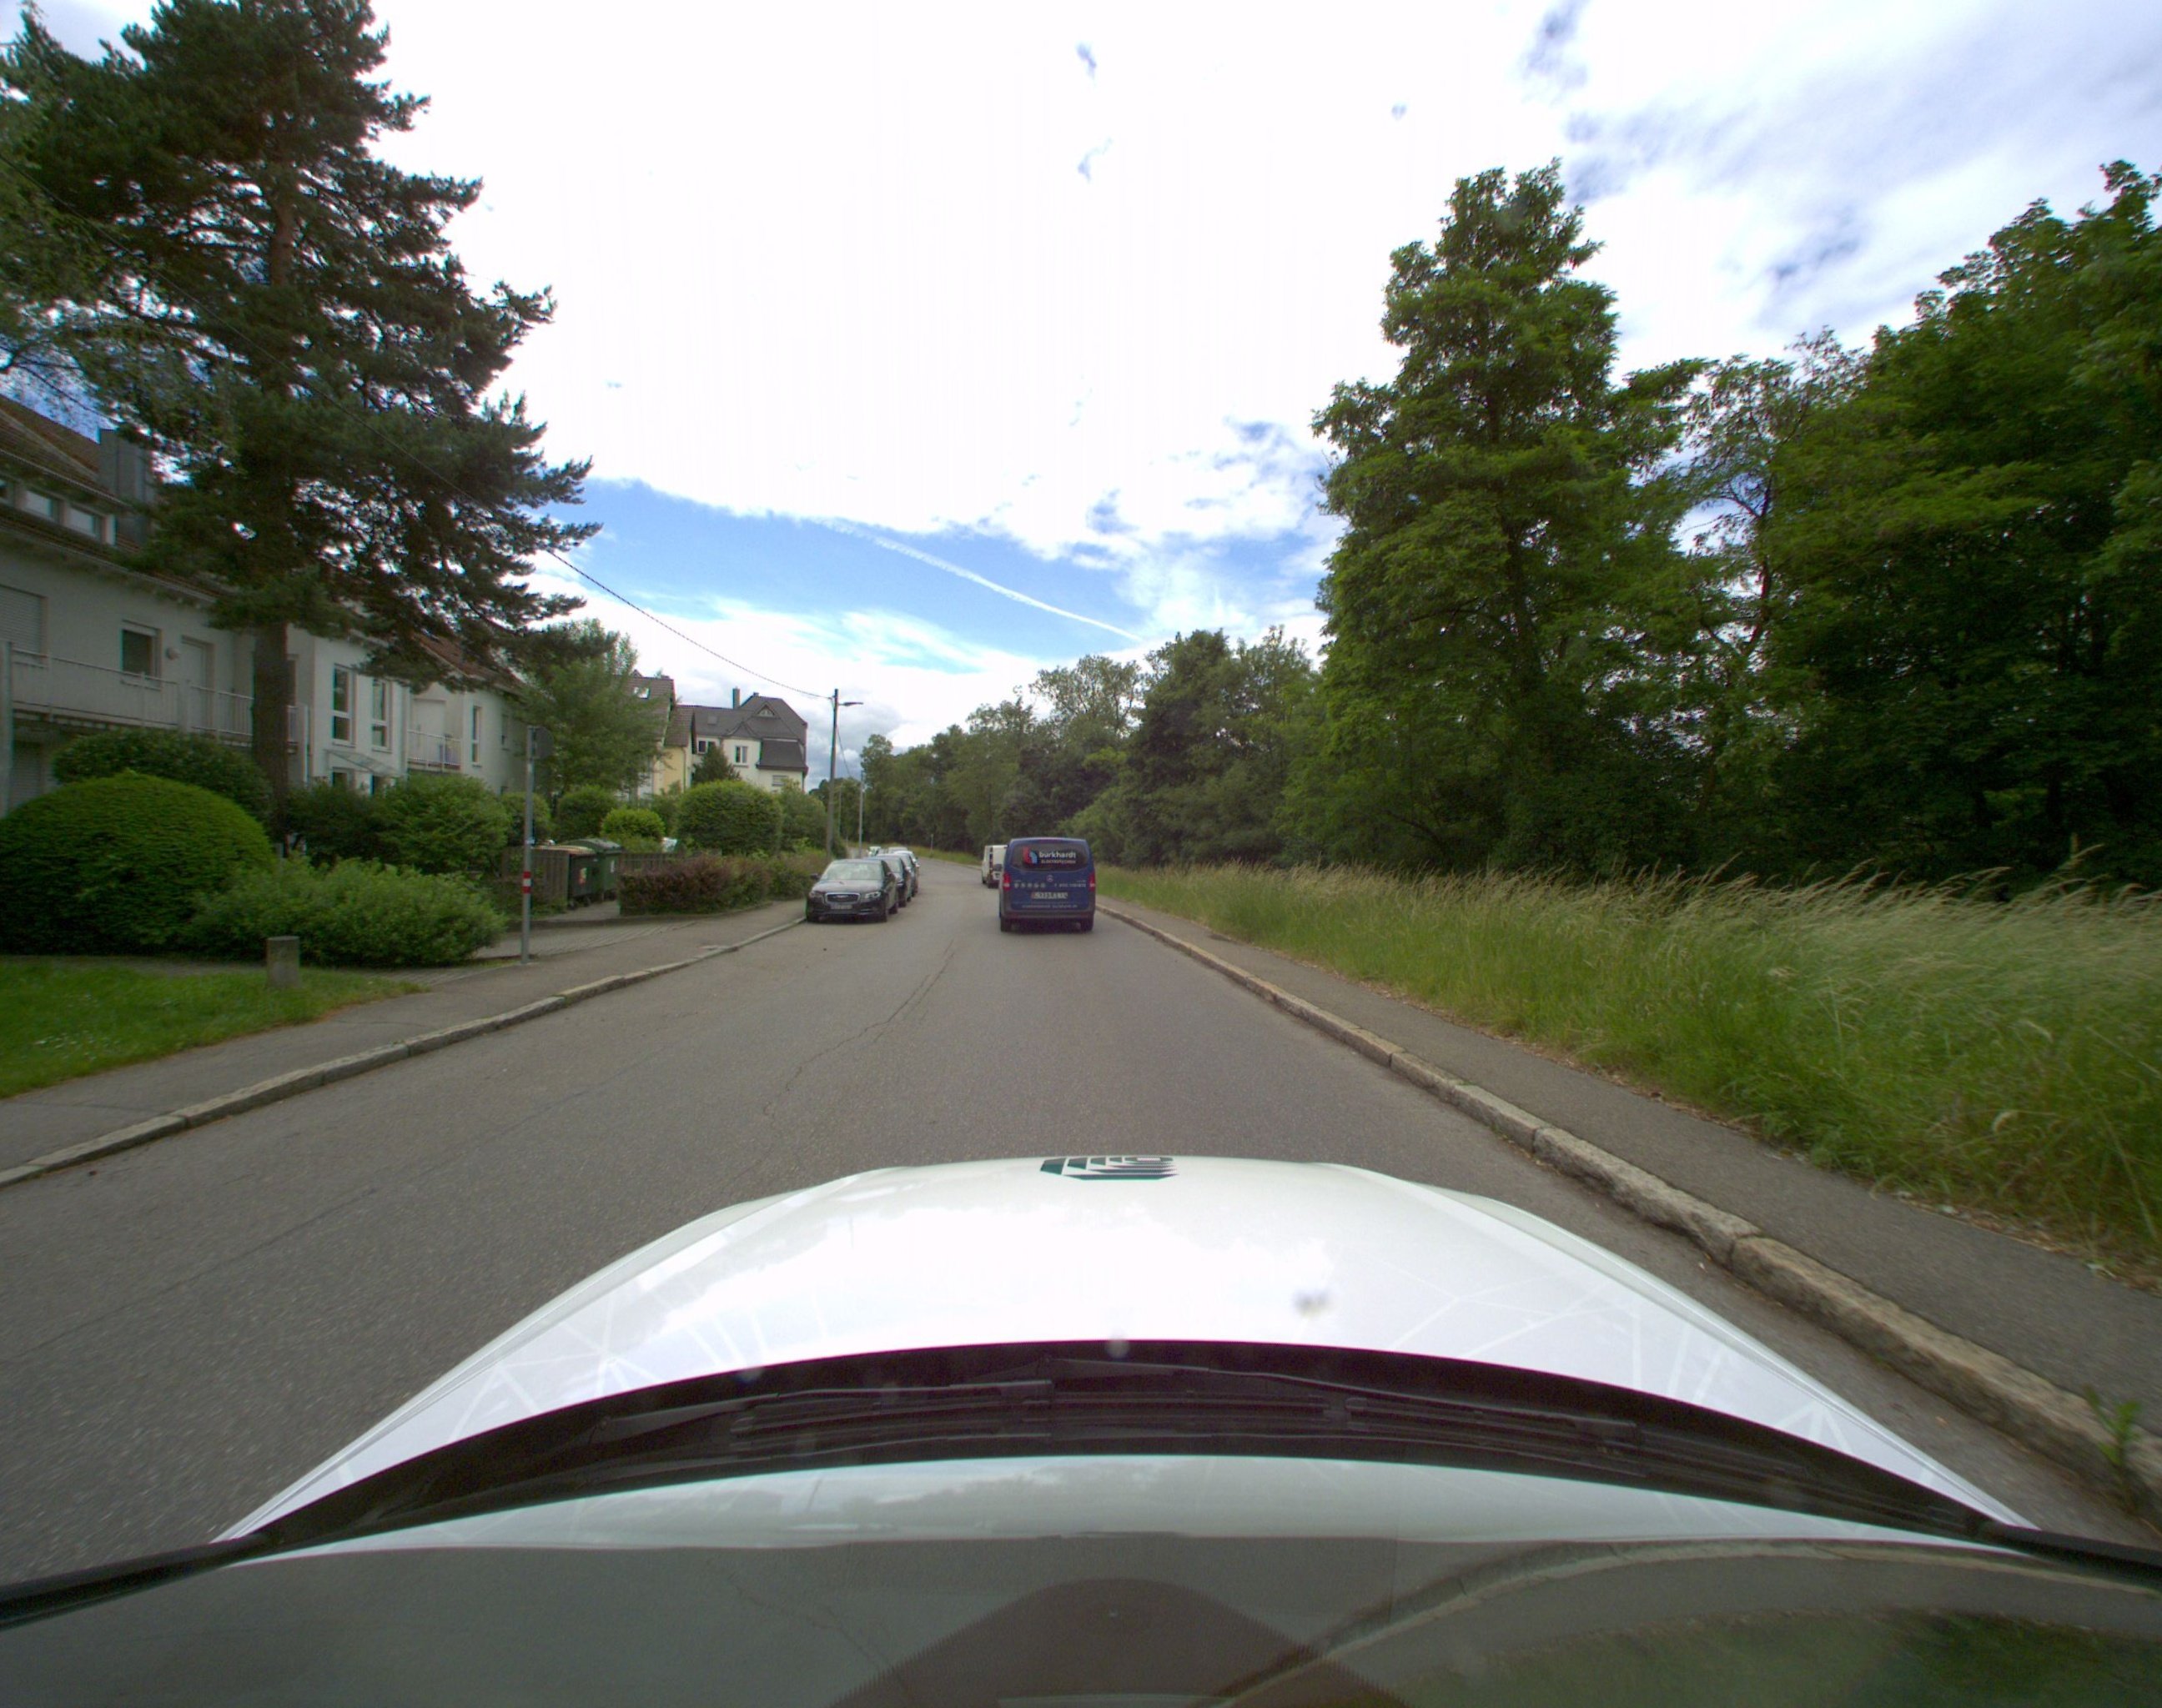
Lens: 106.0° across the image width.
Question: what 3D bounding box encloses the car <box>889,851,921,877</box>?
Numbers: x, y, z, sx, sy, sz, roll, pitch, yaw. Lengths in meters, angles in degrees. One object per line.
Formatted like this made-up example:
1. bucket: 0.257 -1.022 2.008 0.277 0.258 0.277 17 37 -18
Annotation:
1. car: -11.344 0.605 52.272 1.727 1.492 4.391 4 -1 -15

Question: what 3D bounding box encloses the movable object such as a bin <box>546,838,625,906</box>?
1. movable object such as a bin: -11.504 0.398 18.983 1.093 1.466 1.448 2 1 -10

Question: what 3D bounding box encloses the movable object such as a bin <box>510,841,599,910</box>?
1. movable object such as a bin: -11.264 0.441 17.485 1.114 1.363 1.389 2 1 -10

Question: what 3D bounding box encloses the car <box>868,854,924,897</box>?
1. car: -6.919 0.756 30.785 1.761 1.480 4.114 0 0 -9

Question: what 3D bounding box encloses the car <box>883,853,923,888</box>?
1. car: -7.800 0.683 35.755 1.624 1.480 3.912 0 0 -12

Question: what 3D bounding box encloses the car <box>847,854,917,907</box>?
1. car: -5.966 0.747 24.802 1.649 1.441 4.320 1 0 -9

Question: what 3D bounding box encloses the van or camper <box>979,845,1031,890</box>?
1. van or camper: -3.648 0.569 38.214 2.019 1.957 4.879 1 0 -10

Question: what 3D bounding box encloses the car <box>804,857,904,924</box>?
1. car: -5.402 0.804 19.892 1.733 1.418 4.492 0 0 -8

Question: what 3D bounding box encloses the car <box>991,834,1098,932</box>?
1. car: -0.917 0.601 17.556 1.912 1.838 4.281 0 -1 -8
